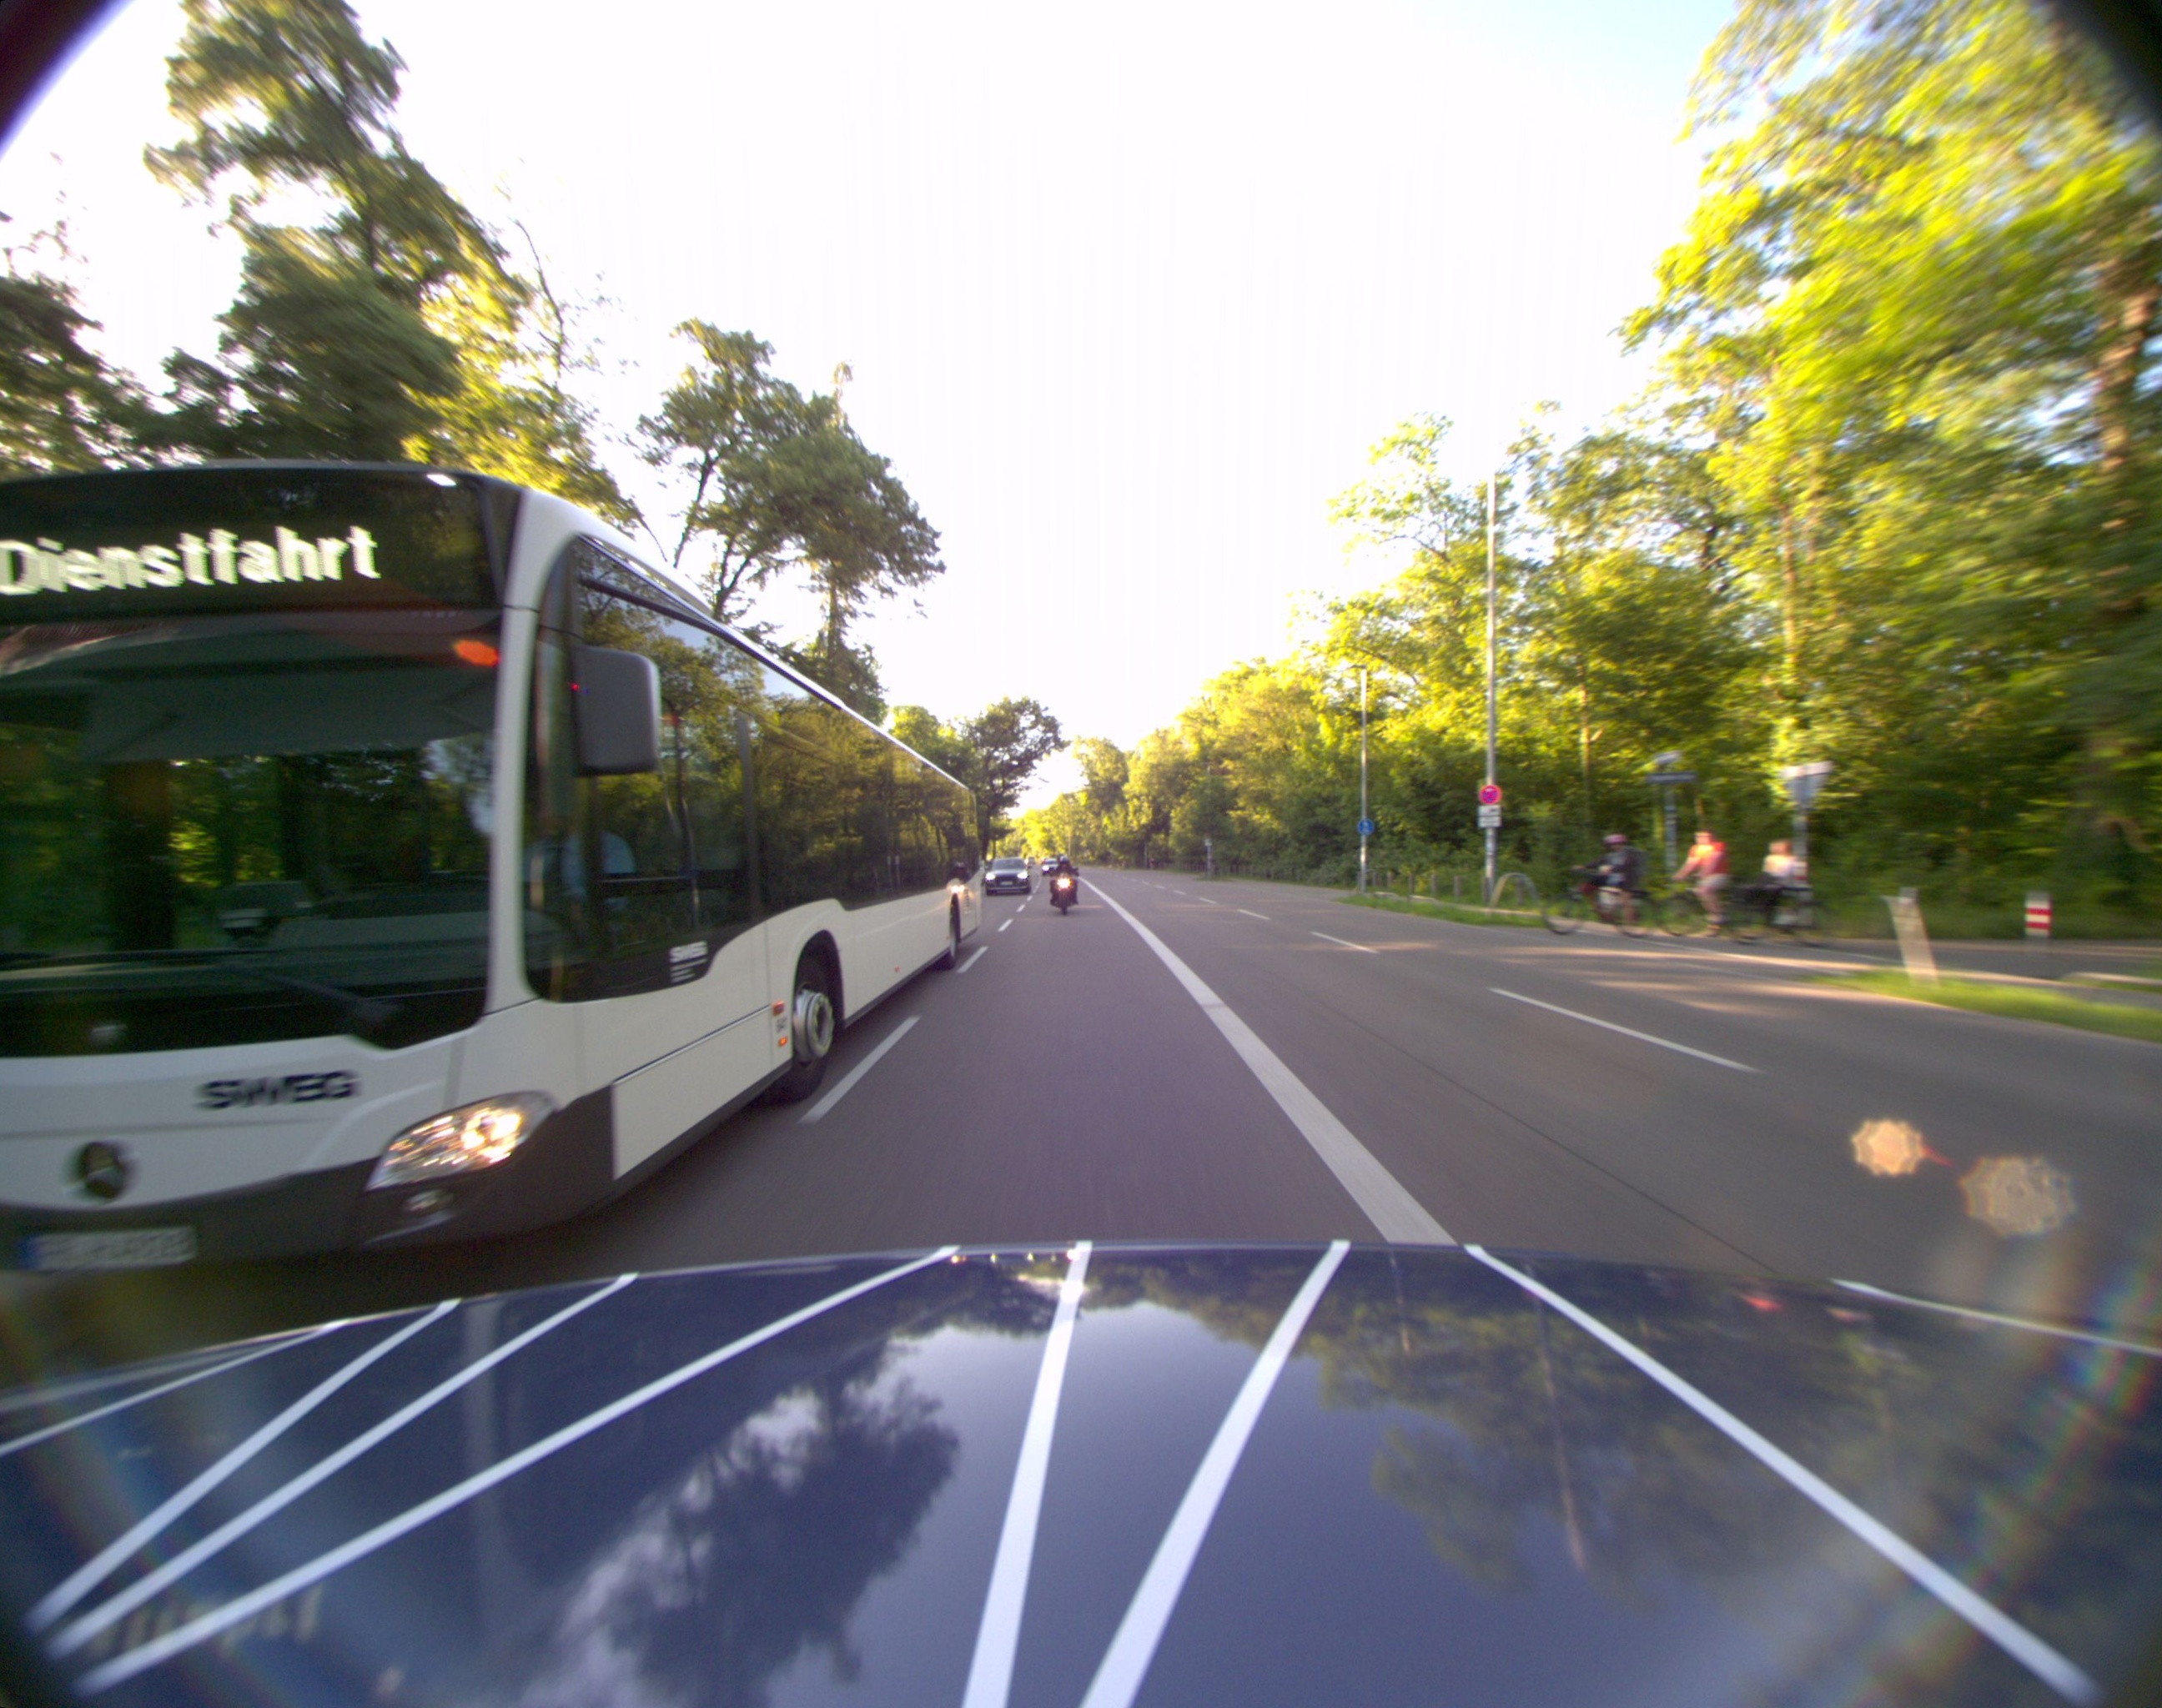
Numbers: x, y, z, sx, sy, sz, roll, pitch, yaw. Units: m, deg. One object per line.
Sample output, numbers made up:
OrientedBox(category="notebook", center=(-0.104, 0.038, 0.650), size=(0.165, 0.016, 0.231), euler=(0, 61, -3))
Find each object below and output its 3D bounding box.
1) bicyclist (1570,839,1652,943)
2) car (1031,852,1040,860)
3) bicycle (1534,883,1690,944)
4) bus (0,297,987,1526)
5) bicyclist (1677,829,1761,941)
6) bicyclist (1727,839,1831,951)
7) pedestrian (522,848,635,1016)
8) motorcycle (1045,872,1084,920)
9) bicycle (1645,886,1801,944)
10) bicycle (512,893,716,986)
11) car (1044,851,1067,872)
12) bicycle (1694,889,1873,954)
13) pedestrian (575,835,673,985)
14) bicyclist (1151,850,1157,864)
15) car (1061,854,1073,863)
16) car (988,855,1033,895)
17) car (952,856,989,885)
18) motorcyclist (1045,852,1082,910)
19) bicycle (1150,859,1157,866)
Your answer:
OrientedBox(category="bicyclist", center=(8.681, 0.595, 12.479), size=(0.797, 1.634, 0.842), euler=(-1, 0, 9))
OrientedBox(category="car", center=(-11.244, 0.508, 186.650), size=(2.213, 1.949, 4.911), euler=(-2, 0, -4))
OrientedBox(category="bicycle", center=(8.674, 0.969, 12.494), size=(1.930, 0.929, 0.825), euler=(-1, 0, 9))
OrientedBox(category="bus", center=(-3.097, 0.181, 8.134), size=(2.711, 3.203, 12.277), euler=(-2, 0, -1))
OrientedBox(category="bicyclist", center=(11.063, 0.526, 13.203), size=(0.797, 1.890, 0.818), euler=(-1, 1, 9))
OrientedBox(category="bicyclist", center=(10.923, 0.623, 11.931), size=(0.797, 1.687, 0.946), euler=(-1, 1, 9))
OrientedBox(category="pedestrian", center=(-5.842, 0.864, 8.887), size=(0.701, 1.842, 0.938), euler=(-1, 1, -5))
OrientedBox(category="motorcycle", center=(-0.468, 1.113, 21.182), size=(0.956, 1.098, 3.339), euler=(-3, 0, -2))
OrientedBox(category="bicycle", center=(11.109, 1.043, 13.213), size=(1.930, 0.929, 0.825), euler=(0, 1, 9))
OrientedBox(category="bicycle", center=(-6.003, 1.075, 9.877), size=(2.067, 1.062, 0.870), euler=(-1, 0, -4))
OrientedBox(category="car", center=(-2.324, 0.651, 69.300), size=(1.999, 1.761, 4.231), euler=(-1, 0, -1))
OrientedBox(category="bicycle", center=(10.954, 1.043, 11.923), size=(1.930, 0.929, 0.825), euler=(-1, 1, 9))
OrientedBox(category="pedestrian", center=(-5.902, 0.690, 9.866), size=(0.701, 1.842, 0.938), euler=(-1, 1, -5))
OrientedBox(category="bicyclist", center=(7.901, 0.319, 82.527), size=(0.501, 1.475, 0.761), euler=(1, 0, -3))
OrientedBox(category="car", center=(-2.659, 0.779, 140.189), size=(1.904, 1.523, 4.527), euler=(-1, 0, -4))
OrientedBox(category="car", center=(-3.144, 0.908, 34.413), size=(1.862, 1.608, 3.998), euler=(-3, 0, -4))
OrientedBox(category="car", center=(-6.634, 0.959, 46.118), size=(1.843, 1.565, 4.457), euler=(-1, 0, -4))
OrientedBox(category="motorcyclist", center=(-0.488, 0.735, 21.051), size=(0.953, 1.523, 1.073), euler=(-3, 1, -2))
OrientedBox(category="bicycle", center=(7.899, 0.925, 82.638), size=(0.496, 0.809, 1.807), euler=(2, 0, -3))
